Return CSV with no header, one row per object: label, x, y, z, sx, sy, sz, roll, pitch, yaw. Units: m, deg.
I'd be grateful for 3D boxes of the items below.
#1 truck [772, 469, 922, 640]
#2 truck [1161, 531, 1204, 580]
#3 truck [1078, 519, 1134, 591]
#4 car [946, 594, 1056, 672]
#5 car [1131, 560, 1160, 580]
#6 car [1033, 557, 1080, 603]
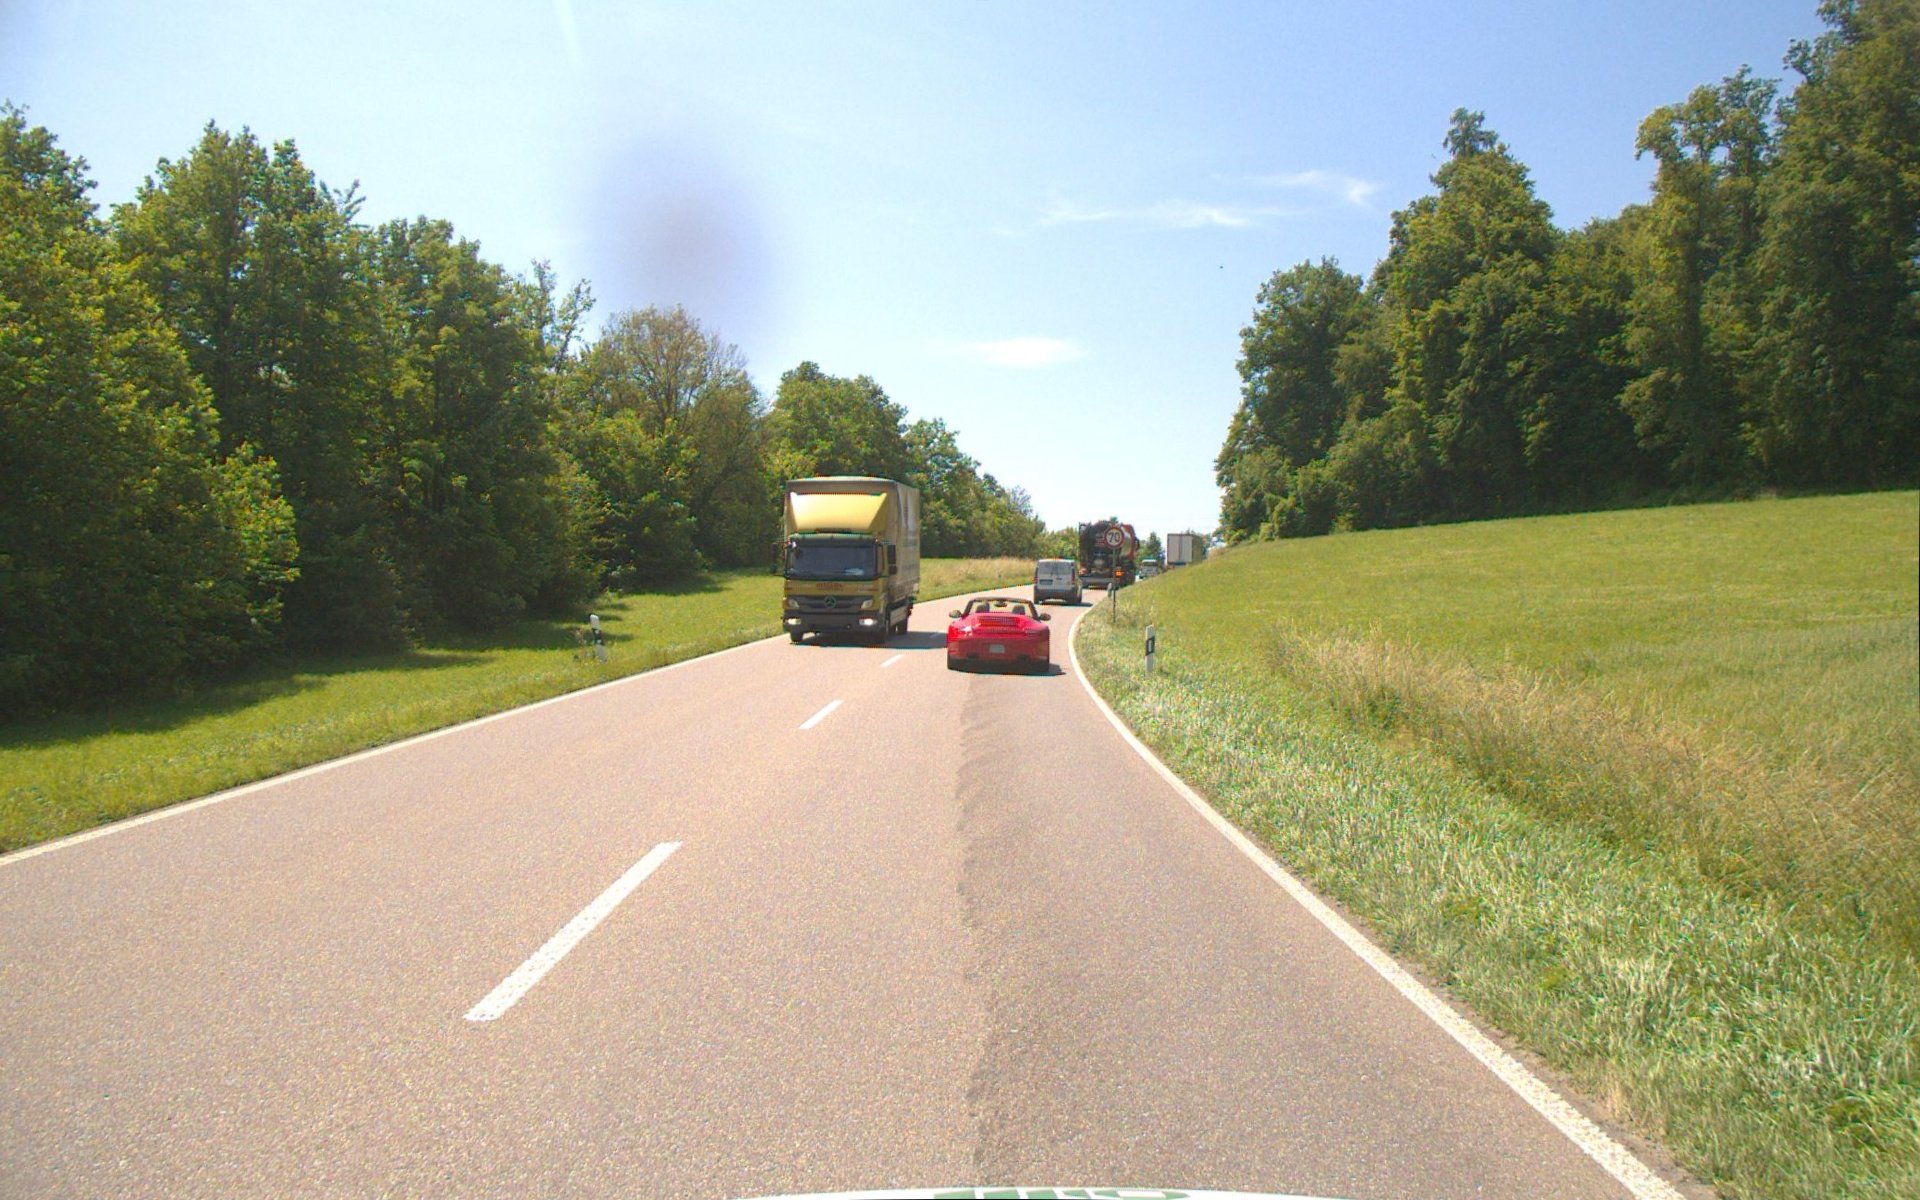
truck,-2.592,-1.040,40.801,2.673,3.755,8.549,1,0,3
truck,22.493,-4.463,166.924,3.645,4.741,12.043,0,1,11
truck,9.012,-2.728,100.859,2.352,4.120,12.563,1,2,10
car,0.689,0.565,30.370,1.844,1.277,4.009,1,1,-1
car,15.106,-2.441,134.602,1.792,1.540,4.195,0,1,13
car,4.213,-0.888,71.868,1.643,1.933,4.013,1,2,9
